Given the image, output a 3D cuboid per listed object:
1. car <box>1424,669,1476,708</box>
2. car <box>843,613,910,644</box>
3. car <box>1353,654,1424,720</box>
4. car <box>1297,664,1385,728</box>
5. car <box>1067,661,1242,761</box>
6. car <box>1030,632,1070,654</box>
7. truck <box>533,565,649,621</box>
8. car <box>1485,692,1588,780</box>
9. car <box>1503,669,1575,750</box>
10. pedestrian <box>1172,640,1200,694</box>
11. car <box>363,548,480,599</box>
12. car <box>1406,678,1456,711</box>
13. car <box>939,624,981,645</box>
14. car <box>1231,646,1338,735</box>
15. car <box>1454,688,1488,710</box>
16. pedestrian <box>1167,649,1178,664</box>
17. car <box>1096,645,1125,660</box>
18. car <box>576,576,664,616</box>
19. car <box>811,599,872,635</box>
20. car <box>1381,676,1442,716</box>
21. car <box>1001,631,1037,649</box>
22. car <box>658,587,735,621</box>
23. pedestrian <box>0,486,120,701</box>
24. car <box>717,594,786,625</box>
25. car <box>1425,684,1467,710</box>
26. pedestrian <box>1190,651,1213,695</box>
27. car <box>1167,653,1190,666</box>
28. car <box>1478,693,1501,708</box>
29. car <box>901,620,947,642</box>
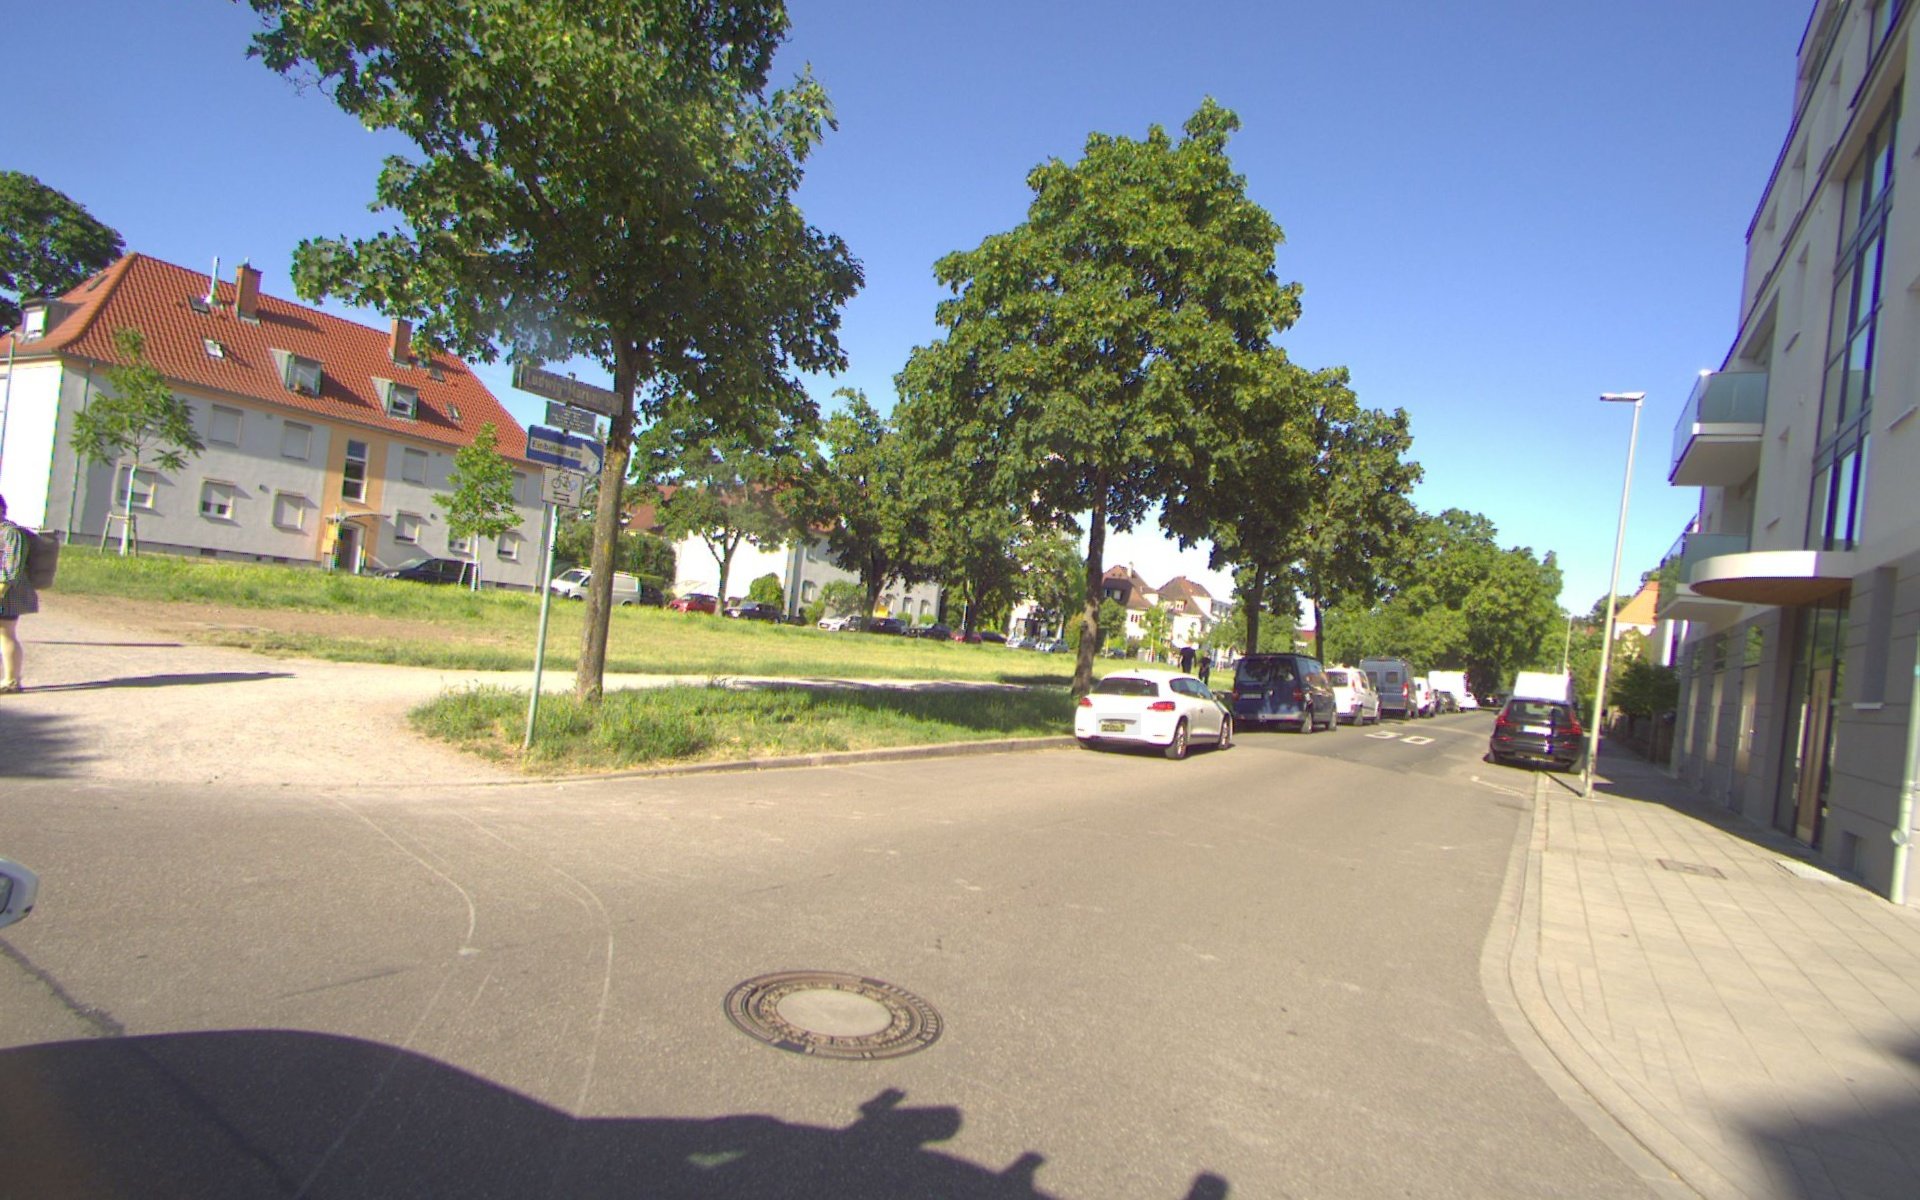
[{"bbox_3d":[34.840,6.297,71.454,2.509,2.362,5.909,7,-1,32],"label":"car"},{"bbox_3d":[-5.525,1.934,67.165,1.966,1.542,4.750,7,-1,30],"label":"car"},{"bbox_3d":[18.769,3.819,43.948,2.158,2.614,4.280,2,-4,32],"label":"car"},{"bbox_3d":[12.897,3.227,33.906,1.847,1.905,4.414,2,-4,33],"label":"car"},{"bbox_3d":[3.522,1.907,17.637,1.712,1.449,3.988,2,-4,31],"label":"car"},{"bbox_3d":[8.340,3.989,92.697,1.857,1.628,4.240,7,-1,31],"label":"car"},{"bbox_3d":[-17.459,-0.305,47.839,1.966,2.060,4.867,7,-1,30],"label":"truck"},{"bbox_3d":[13.935,3.196,24.249,1.865,1.702,4.281,5,-2,32],"label":"car"},{"bbox_3d":[21.137,3.966,36.669,1.990,2.579,3.987,5,-2,32],"label":"car"},{"bbox_3d":[8.304,2.470,37.005,0.633,1.899,0.628,7,0,30],"label":"pedestrian"},{"bbox_3d":[-23.308,-1.123,43.653,1.693,1.684,4.057,7,-1,31],"label":"car"},{"bbox_3d":[27.720,5.559,59.128,2.051,1.618,4.280,7,-1,32],"label":"car"},{"bbox_3d":[0.003,2.889,84.119,1.693,1.357,3.803,7,-1,31],"label":"car"},{"bbox_3d":[8.725,2.412,26.857,1.756,2.107,3.987,2,-4,32],"label":"car"},{"bbox_3d":[42.706,8.287,84.064,2.047,1.483,4.719,6,-1,32],"label":"car"},{"bbox_3d":[26.562,7.037,125.621,1.035,1.730,0.692,7,0,26],"label":"pedestrian"},{"bbox_3d":[16.873,5.854,112.729,1.693,1.358,3.803,7,-1,31],"label":"car"},{"bbox_3d":[-17.828,-0.192,52.945,1.693,1.602,4.134,7,-1,31],"label":"car"},{"bbox_3d":[-8.213,1.226,69.950,1.840,2.037,4.249,7,-1,31],"label":"car"},{"bbox_3d":[22.271,4.711,49.570,2.051,1.618,4.280,7,-1,32],"label":"car"},{"bbox_3d":[5.541,3.756,93.854,1.693,1.357,3.803,7,-1,31],"label":"car"},{"bbox_3d":[-15.128,0.262,57.946,1.693,1.459,4.134,7,-1,31],"label":"car"},{"bbox_3d":[-8.006,-0.089,8.466,0.896,1.698,1.089,6,4,14],"label":"pedestrian"},{"bbox_3d":[-12.812,0.621,61.983,1.693,1.459,4.134,7,-1,31],"label":"car"},{"bbox_3d":[31.689,6.325,65.543,1.903,1.360,4.102,6,-1,32],"label":"car"},{"bbox_3d":[8.726,2.653,36.371,0.488,1.523,0.534,7,0,31],"label":"pedestrian"},{"bbox_3d":[28.867,7.899,132.822,1.693,1.357,3.803,7,-1,31],"label":"car"},{"bbox_3d":[65.168,12.350,123.755,2.047,1.483,4.719,7,-1,32],"label":"car"},{"bbox_3d":[-2.790,2.427,79.090,1.693,1.357,3.803,7,-1,31],"label":"car"}]
